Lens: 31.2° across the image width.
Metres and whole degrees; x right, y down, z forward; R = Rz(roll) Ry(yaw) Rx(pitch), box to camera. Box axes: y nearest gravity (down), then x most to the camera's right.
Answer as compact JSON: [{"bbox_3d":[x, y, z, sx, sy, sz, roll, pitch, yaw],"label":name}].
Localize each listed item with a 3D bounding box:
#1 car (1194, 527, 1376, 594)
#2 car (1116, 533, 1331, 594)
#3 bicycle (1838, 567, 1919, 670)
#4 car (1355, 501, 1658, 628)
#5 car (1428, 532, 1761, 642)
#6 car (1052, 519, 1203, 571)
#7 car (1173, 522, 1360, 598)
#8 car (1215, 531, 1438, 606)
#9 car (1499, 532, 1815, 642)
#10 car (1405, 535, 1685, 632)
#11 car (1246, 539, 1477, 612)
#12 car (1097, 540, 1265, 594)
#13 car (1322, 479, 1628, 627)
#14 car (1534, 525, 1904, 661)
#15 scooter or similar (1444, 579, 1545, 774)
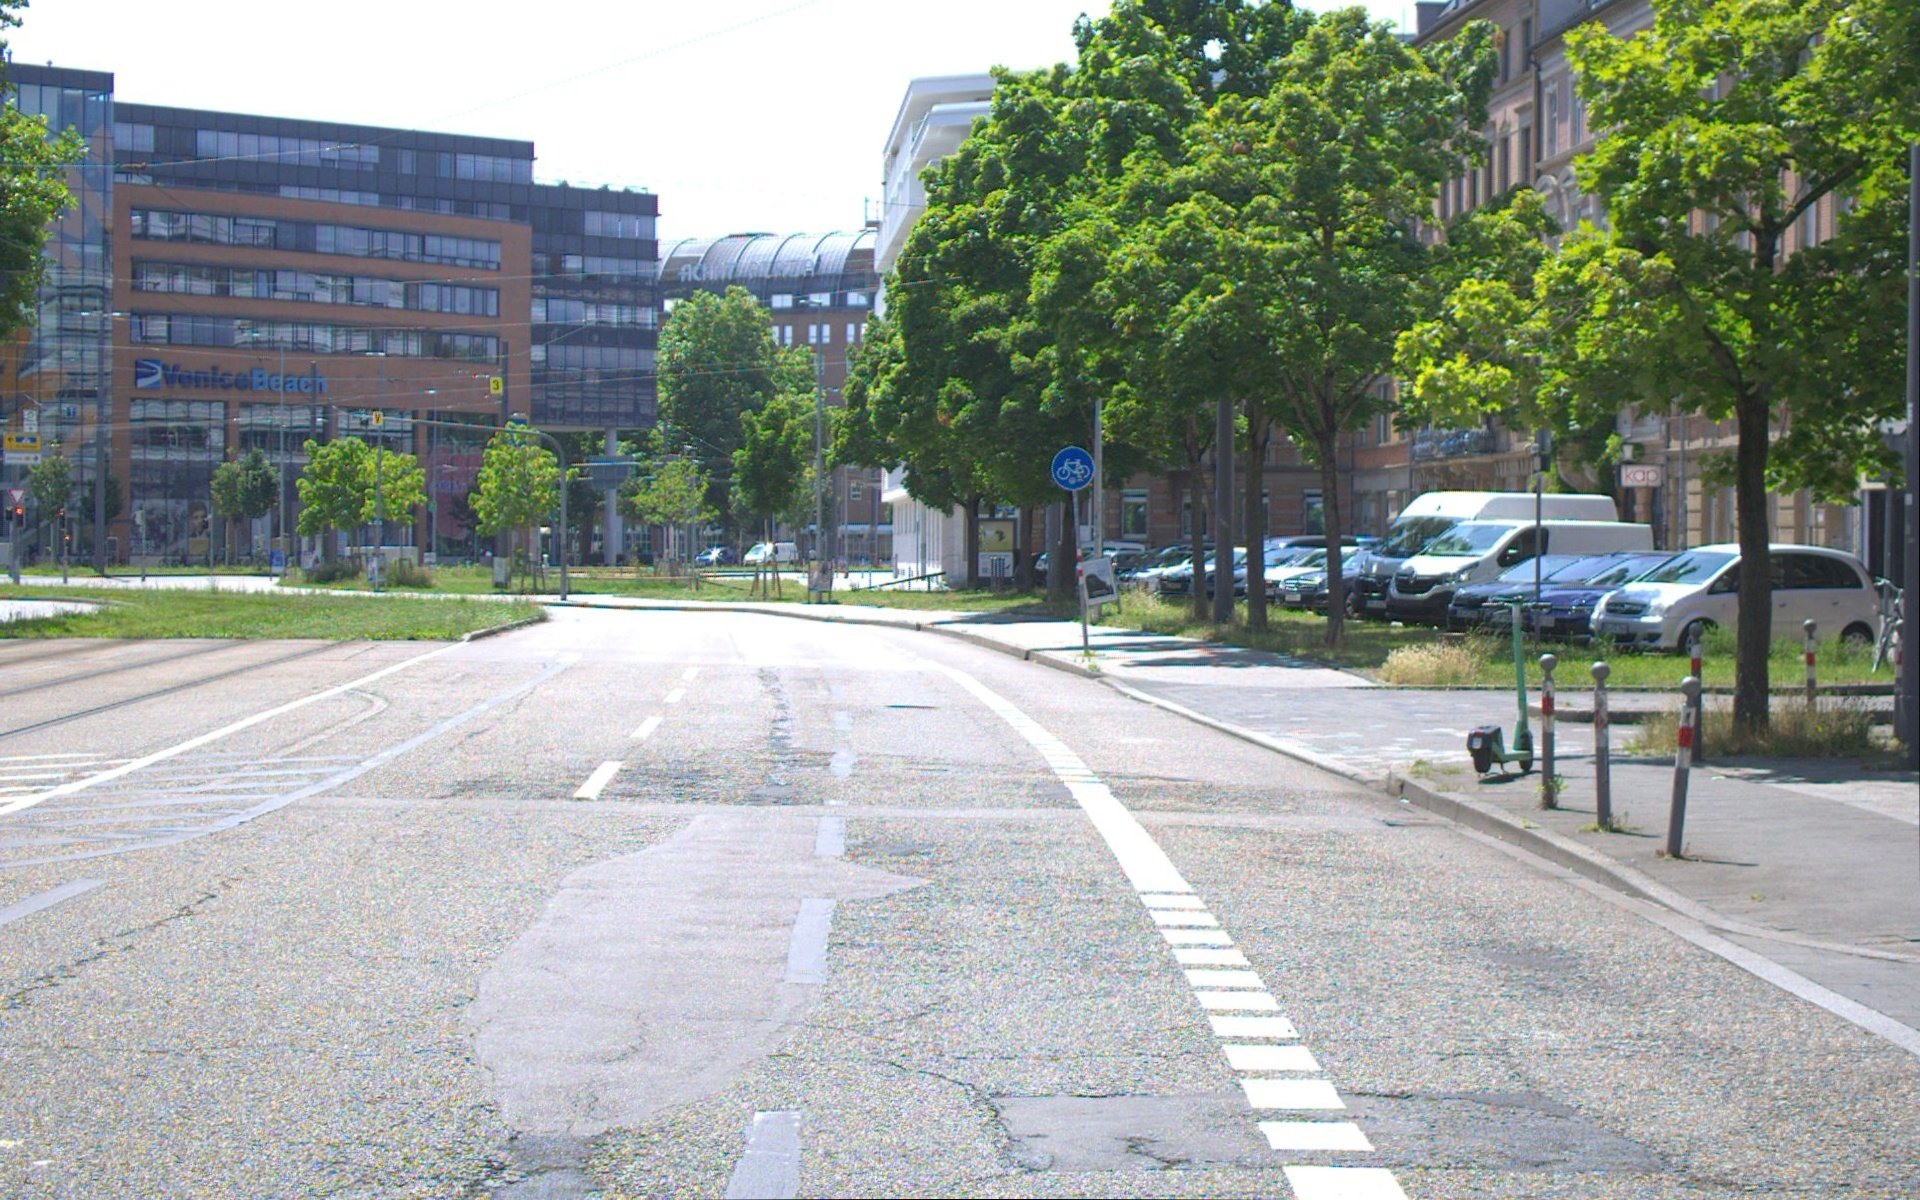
[{"bbox_3d":[7.473,-0.903,79.009,3.987,1.395,1.712,1,1,-36],"label":"car"},{"bbox_3d":[6.454,-0.894,84.216,4.771,1.309,2.150,1,1,-26],"label":"car"},{"bbox_3d":[11.268,0.220,41.478,0.740,1.189,2.357,2,1,28],"label":"bicycle"},{"bbox_3d":[9.229,-0.590,57.926,4.832,1.966,2.076,1,1,-33],"label":"car"},{"bbox_3d":[9.463,-0.190,51.203,4.617,1.492,1.966,1,1,-28],"label":"car"},{"bbox_3d":[5.688,-1.876,116.681,4.858,1.595,1.836,1,1,-31],"label":"car"},{"bbox_3d":[7.315,-0.955,82.064,3.986,1.656,1.972,1,1,-30],"label":"car"},{"bbox_3d":[7.758,-0.655,72.546,4.679,1.422,1.971,1,1,-41],"label":"car"},{"bbox_3d":[9.739,-0.182,48.052,3.986,1.394,1.824,1,1,-25],"label":"car"},{"bbox_3d":[9.254,-0.261,54.385,3.986,1.382,1.824,1,1,-25],"label":"car"},{"bbox_3d":[8.082,-0.488,69.094,4.418,1.334,1.972,1,1,-36],"label":"car"},{"bbox_3d":[5.891,-0.889,91.757,3.986,1.309,1.973,1,1,-26],"label":"car"},{"bbox_3d":[9.232,-0.815,61.355,5.535,2.452,2.237,1,1,-41],"label":"car"},{"bbox_3d":[9.945,-0.092,45.030,4.397,1.626,2.000,1,1,-26],"label":"car"},{"bbox_3d":[3.560,0.496,22.847,0.390,1.210,1.178,-2,2,20],"label":"scooter or similar"}]
